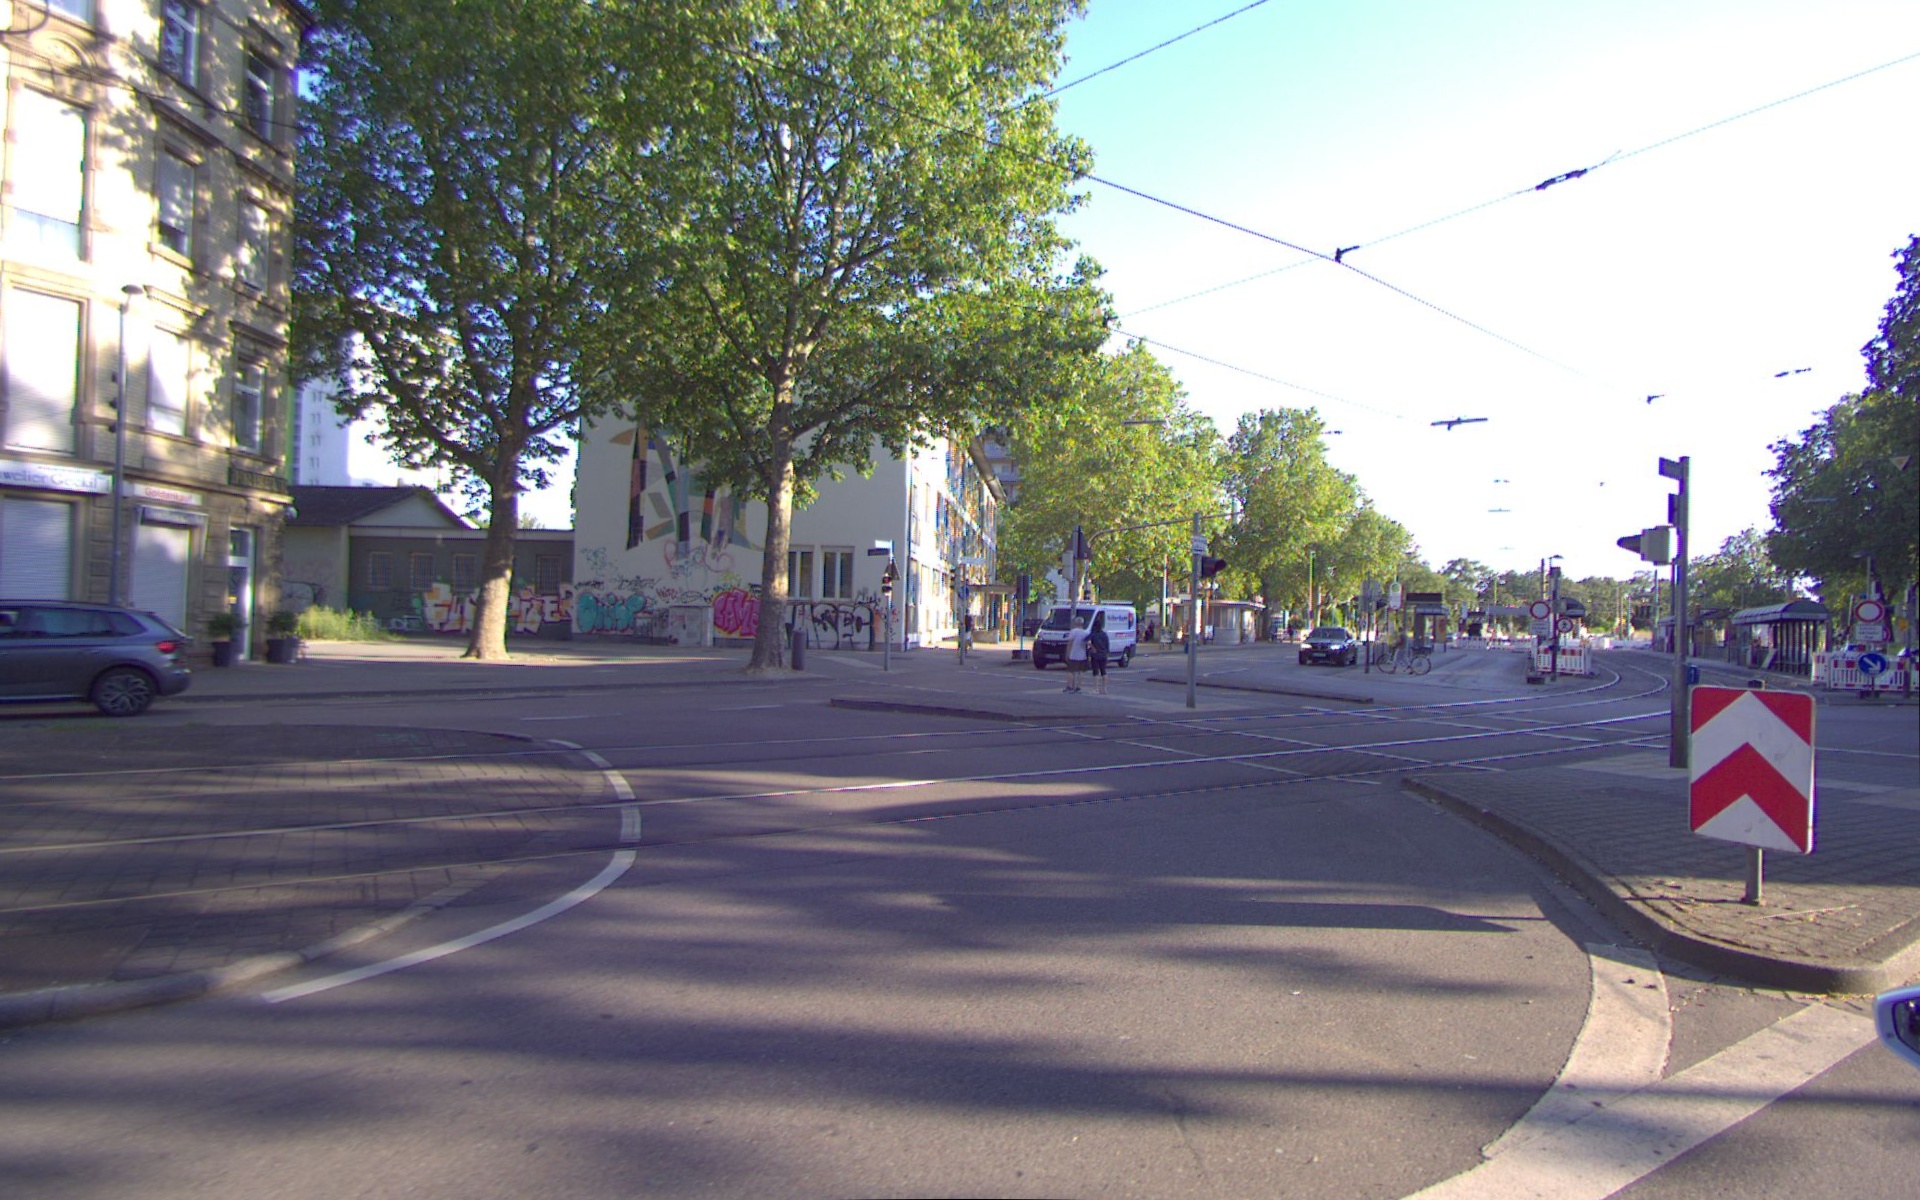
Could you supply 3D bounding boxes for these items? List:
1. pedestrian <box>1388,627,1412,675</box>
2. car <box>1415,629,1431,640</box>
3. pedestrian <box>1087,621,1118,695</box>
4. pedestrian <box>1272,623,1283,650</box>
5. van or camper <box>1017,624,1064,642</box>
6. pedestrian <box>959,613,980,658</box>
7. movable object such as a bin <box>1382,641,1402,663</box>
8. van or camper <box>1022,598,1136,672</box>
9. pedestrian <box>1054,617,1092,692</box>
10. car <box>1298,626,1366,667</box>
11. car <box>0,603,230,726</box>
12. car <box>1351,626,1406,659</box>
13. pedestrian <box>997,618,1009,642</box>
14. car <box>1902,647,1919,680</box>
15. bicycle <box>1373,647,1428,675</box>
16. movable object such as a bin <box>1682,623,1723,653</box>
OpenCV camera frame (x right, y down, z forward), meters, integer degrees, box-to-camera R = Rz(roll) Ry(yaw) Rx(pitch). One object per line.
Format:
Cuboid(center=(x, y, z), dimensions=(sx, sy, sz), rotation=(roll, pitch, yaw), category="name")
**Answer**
Cuboid(center=(16.173, 1.863, 36.918), dimensions=(0.709, 1.748, 0.398), rotation=(1, -1, 30), category="pedestrian")
Cuboid(center=(66.856, 4.994, 145.134), dimensions=(1.857, 1.551, 4.201), rotation=(1, -1, 28), category="car")
Cuboid(center=(2.998, 1.210, 21.149), dimensions=(0.403, 1.524, 0.515), rotation=(1, -1, 37), category="pedestrian")
Cuboid(center=(24.866, 2.868, 78.757), dimensions=(0.696, 2.040, 0.743), rotation=(1, -1, 23), category="pedestrian")
Cuboid(center=(7.370, 3.011, 91.865), dimensions=(3.927, 1.572, 1.826), rotation=(2, -1, -9), category="van or camper")
Cuboid(center=(0.383, 1.412, 40.190), dimensions=(0.663, 1.733, 0.432), rotation=(3, 1, 13), category="pedestrian")
Cuboid(center=(18.698, 2.236, 43.445), dimensions=(0.661, 0.878, 0.700), rotation=(3, 1, 33), category="movable object such as a bin")
Cuboid(center=(4.220, 1.232, 34.720), dimensions=(2.135, 2.349, 5.096), rotation=(-1, -2, 29), category="van or camper")
Cuboid(center=(2.369, 1.125, 21.033), dimensions=(0.513, 1.524, 0.591), rotation=(1, -1, 37), category="pedestrian")
Cuboid(center=(15.832, 1.941, 42.623), dimensions=(1.859, 1.606, 4.197), rotation=(1, -1, 32), category="car")
Cuboid(center=(-12.316, 0.810, 13.210), dimensions=(4.178, 1.492, 1.868), rotation=(3, -1, -43), category="car")
Cuboid(center=(21.257, 2.134, 50.940), dimensions=(1.859, 1.551, 4.197), rotation=(1, -1, 32), category="car")
Cuboid(center=(2.585, 1.782, 60.274), dimensions=(0.663, 1.414, 0.693), rotation=(3, 1, 5), category="pedestrian")
Cuboid(center=(45.779, 3.014, 47.093), dimensions=(1.732, 1.483, 3.988), rotation=(1, -1, 34), category="car")
Cuboid(center=(16.373, 2.258, 37.322), dimensions=(1.813, 0.955, 0.463), rotation=(1, -1, 30), category="bicycle")
Cuboid(center=(67.841, 3.463, 91.864), dimensions=(2.458, 2.509, 5.345), rotation=(1, -1, 31), category="movable object such as a bin")
